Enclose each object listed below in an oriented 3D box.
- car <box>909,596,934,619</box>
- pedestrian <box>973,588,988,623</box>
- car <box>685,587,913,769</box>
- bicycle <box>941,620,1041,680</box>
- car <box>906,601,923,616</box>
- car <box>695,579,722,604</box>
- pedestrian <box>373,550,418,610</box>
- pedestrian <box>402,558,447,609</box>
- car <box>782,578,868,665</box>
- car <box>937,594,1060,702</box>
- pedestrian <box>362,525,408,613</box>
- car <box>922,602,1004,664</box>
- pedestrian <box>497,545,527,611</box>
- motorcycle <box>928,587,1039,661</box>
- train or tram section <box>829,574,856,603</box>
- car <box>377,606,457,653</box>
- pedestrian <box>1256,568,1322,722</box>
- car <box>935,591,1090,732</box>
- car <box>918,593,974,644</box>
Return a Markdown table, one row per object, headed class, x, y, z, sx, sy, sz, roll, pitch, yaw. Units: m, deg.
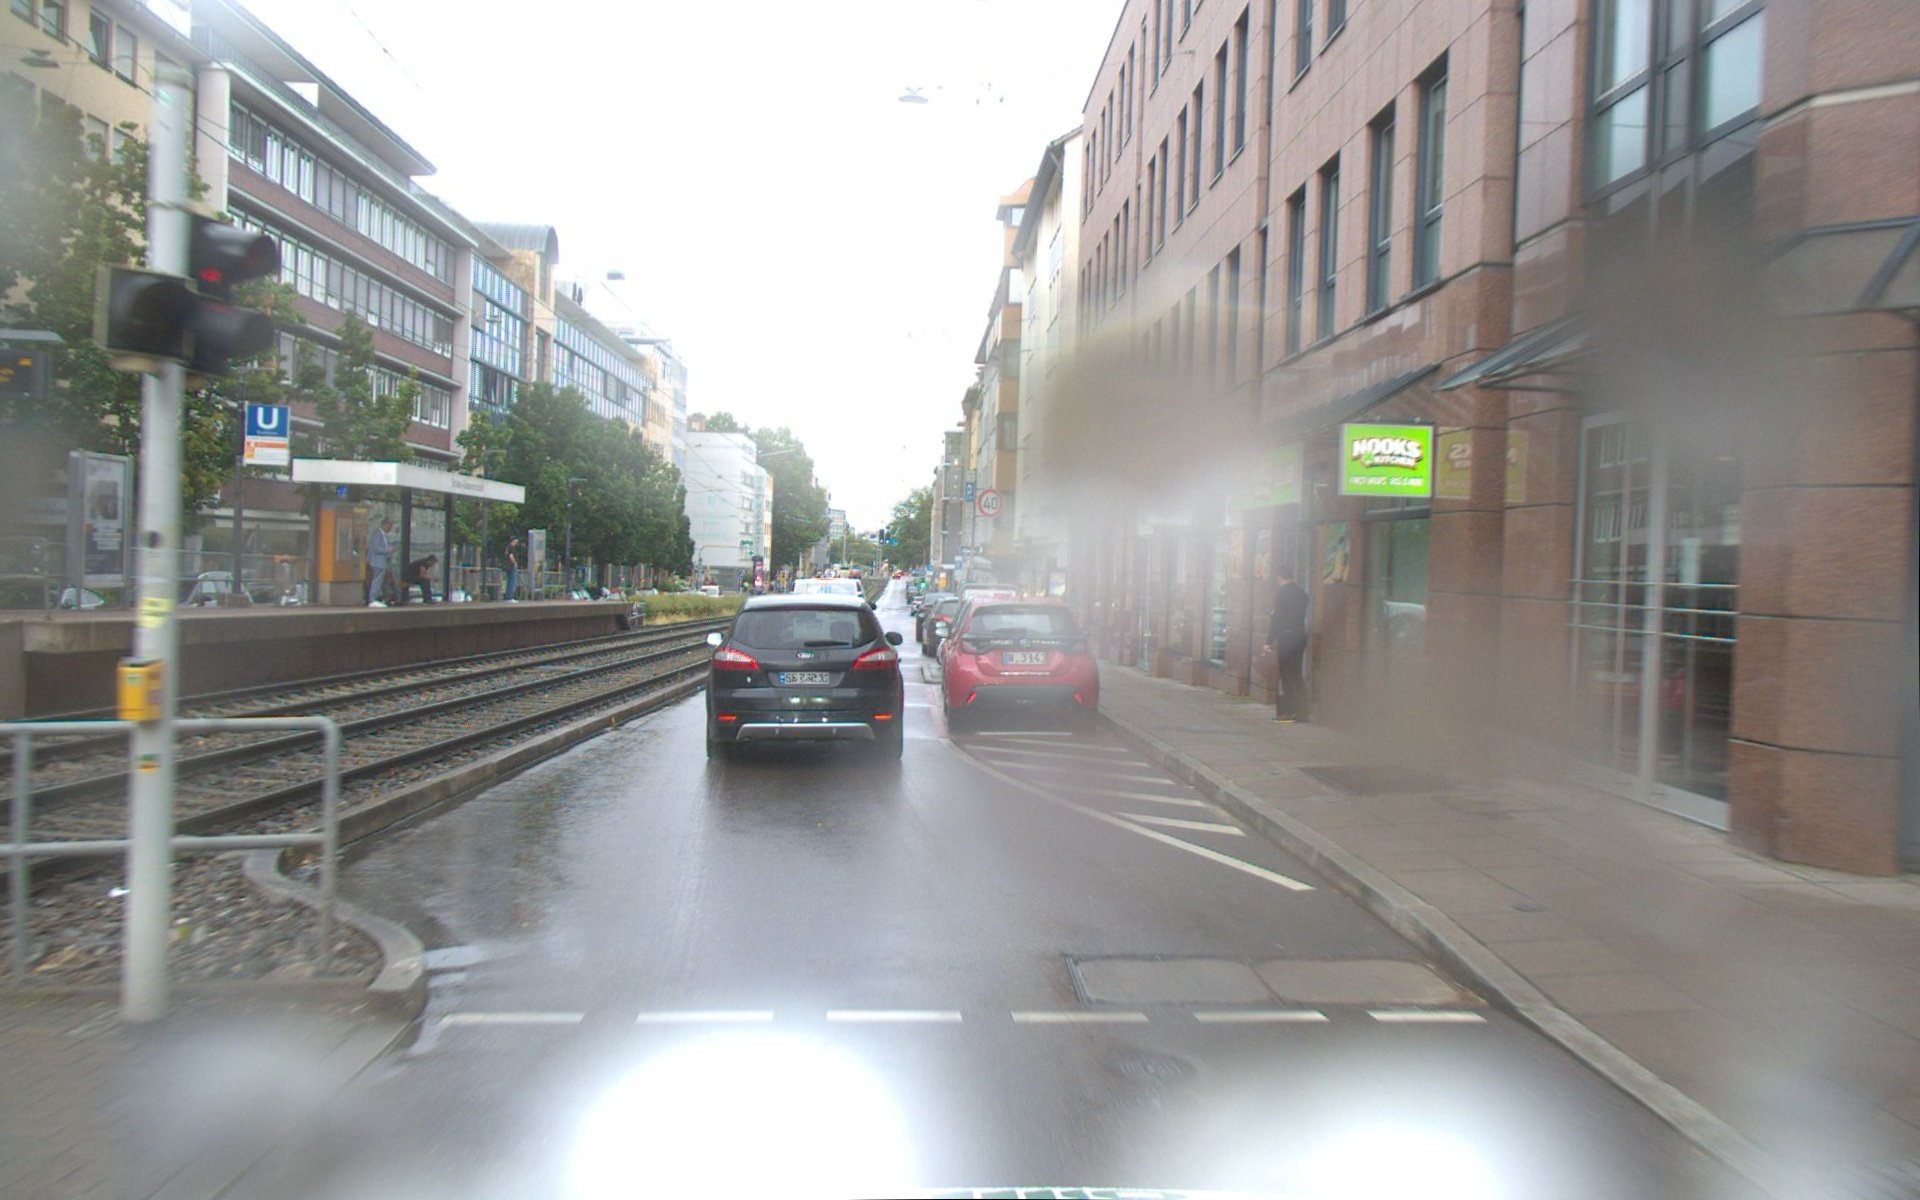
| class | x | y | z | sx | sy | sz | roll | pitch | yaw |
| --- | --- | --- | --- | --- | --- | --- | --- | --- | --- |
| car | -2.985 | 0.603 | 128.636 | 1.868 | 1.662 | 4.572 | 1 | -1 | -1 |
| pedestrian | 1.000 | 0.268 | 80.865 | 0.681 | 1.681 | 0.965 | 1 | 0 | -3 |
| car | -1.395 | 0.678 | 15.570 | 1.868 | 1.488 | 3.443 | 1 | -1 | -2 |
| bicycle | 0.543 | 0.889 | 29.554 | 1.751 | 1.049 | 0.462 | 1 | -1 | -3 |
| car | -5.205 | 0.961 | 190.554 | 1.868 | 1.662 | 4.572 | 1 | -1 | -1 |
| car | -20.909 | -0.686 | 137.446 | 1.869 | 1.897 | 4.568 | 1 | -1 | -5 |
| pedestrian | -12.130 | -0.418 | 35.542 | 0.679 | 1.271 | 0.884 | 1 | 0 | -4 |
| pedestrian | -12.260 | -0.378 | 37.863 | 0.876 | 1.143 | 0.847 | 1 | 0 | -13 |
| car | -3.159 | 0.510 | 39.009 | 1.869 | 1.897 | 4.570 | 1 | -1 | -4 |
| car | 0.521 | 0.698 | 25.274 | 1.664 | 1.488 | 3.865 | -1 | -1 | -2 |
| pedestrian | -11.564 | -0.611 | 33.276 | 0.642 | 1.741 | 0.849 | 1 | 0 | -4 |
| car | 0.021 | 0.801 | 42.418 | 1.739 | 1.494 | 4.605 | 1 | 0 | -4 |
| pedestrian | -12.639 | -0.614 | 46.671 | 0.642 | 1.833 | 0.849 | 1 | 0 | -4 |
| motorcycle | 0.473 | 0.465 | 32.587 | 2.040 | 1.432 | 0.799 | 0 | -1 | 16 |
| train or tram section | -15.957 | -1.528 | 224.183 | 3.444 | 3.843 | 11.320 | 1 | 0 | -5 |
| car | -17.958 | 0.946 | 54.855 | 1.537 | 1.461 | 4.234 | 1 | 0 | -5 |
| pedestrian | 3.670 | 0.497 | 18.493 | 0.589 | 1.688 | 0.625 | 1 | -1 | -2 |
| car | 0.555 | 0.691 | 19.947 | 1.664 | 1.505 | 3.866 | -1 | -1 | -1 |
| car | -0.521 | 0.632 | 57.249 | 1.771 | 1.660 | 5.167 | 1 | 0 | -2 |
